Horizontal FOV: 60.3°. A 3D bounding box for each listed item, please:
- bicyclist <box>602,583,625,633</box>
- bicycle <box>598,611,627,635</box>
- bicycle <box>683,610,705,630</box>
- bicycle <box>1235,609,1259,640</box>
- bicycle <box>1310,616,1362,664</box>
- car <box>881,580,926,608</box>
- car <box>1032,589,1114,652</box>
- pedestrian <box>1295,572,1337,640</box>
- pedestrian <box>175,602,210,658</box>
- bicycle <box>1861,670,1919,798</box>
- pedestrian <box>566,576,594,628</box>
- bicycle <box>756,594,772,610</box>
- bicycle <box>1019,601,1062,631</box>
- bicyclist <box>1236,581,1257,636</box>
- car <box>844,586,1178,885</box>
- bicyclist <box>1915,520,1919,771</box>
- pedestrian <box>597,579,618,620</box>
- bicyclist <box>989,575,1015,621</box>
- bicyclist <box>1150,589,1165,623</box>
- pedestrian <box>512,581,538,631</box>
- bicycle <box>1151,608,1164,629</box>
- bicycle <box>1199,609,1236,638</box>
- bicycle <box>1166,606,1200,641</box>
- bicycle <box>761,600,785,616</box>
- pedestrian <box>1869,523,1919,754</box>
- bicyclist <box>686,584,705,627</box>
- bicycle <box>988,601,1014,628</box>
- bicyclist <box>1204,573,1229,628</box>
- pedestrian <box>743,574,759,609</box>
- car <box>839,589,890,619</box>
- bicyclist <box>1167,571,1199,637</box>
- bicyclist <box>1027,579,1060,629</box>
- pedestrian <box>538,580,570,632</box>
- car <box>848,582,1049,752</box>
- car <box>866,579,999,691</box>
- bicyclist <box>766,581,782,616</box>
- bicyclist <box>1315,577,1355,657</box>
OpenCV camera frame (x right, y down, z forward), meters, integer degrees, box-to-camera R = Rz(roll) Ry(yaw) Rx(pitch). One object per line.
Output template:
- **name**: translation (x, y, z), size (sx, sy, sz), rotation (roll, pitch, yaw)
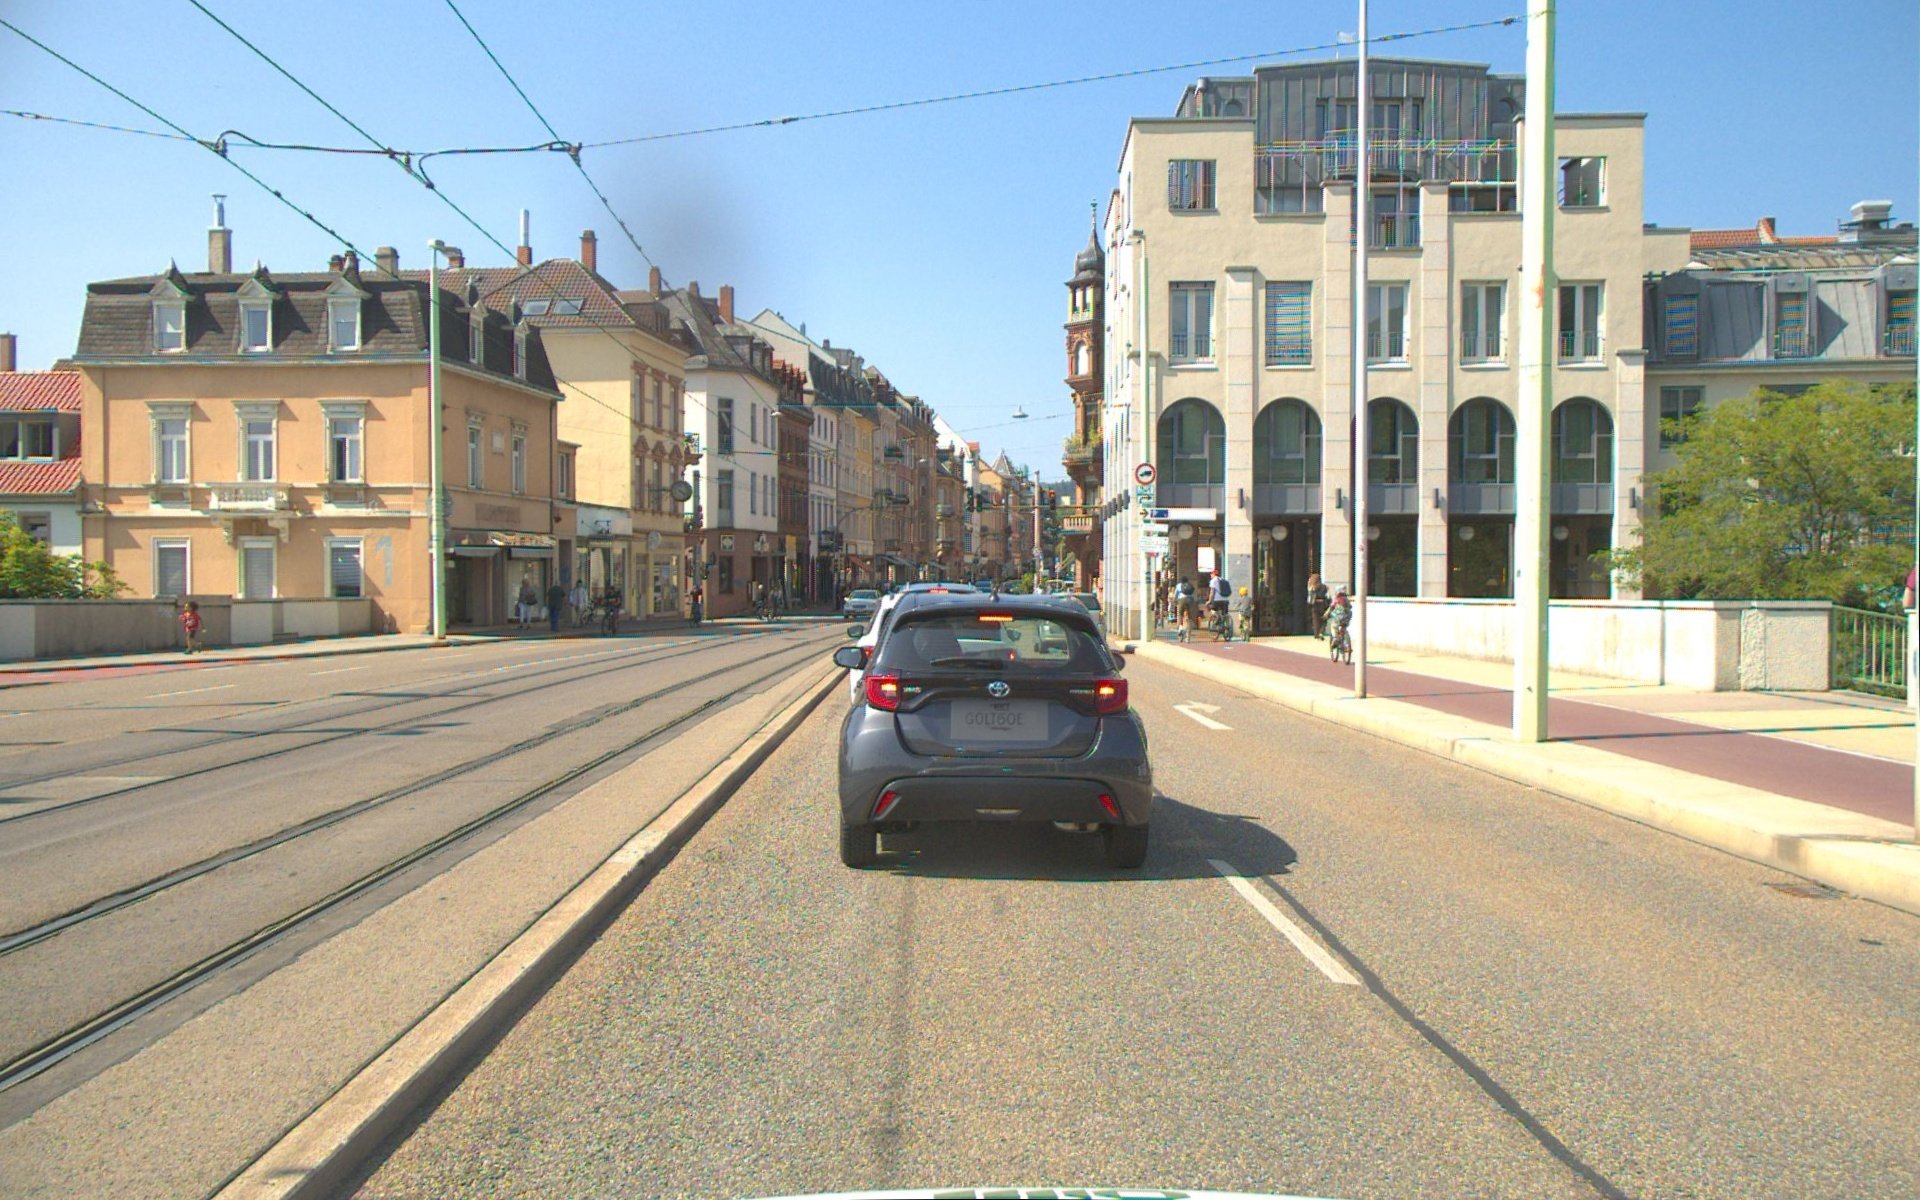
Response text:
- **bicyclist**: translation (-11.809, 0.260, 56.352), size (0.614, 1.679, 0.622), rotation (2, 1, -1)
- **bicycle**: translation (-11.820, 0.770, 56.246), size (0.608, 0.728, 1.771), rotation (2, 1, -1)
- **bicycle**: translation (-10.716, 0.789, 66.769), size (0.608, 0.728, 1.731), rotation (2, 1, -1)
- **bicycle**: translation (7.422, 0.635, 42.769), size (0.408, 0.779, 0.961), rotation (-2, 0, -1)
- **bicycle**: translation (6.713, 0.704, 29.586), size (0.503, 0.779, 1.660), rotation (-2, 0, -1)
- **car**: translation (-3.282, -0.346, 96.684), size (1.951, 1.614, 4.656), rotation (0, 0, 7)
- **car**: translation (2.837, 0.485, 42.371), size (1.671, 1.491, 4.325), rotation (1, 0, -1)
- **pedestrian**: translation (9.033, 0.143, 42.020), size (0.724, 1.642, 1.015), rotation (4, 0, -2)
- **pedestrian**: translation (-16.639, 0.651, 35.857), size (0.403, 1.166, 0.545), rotation (4, 0, 5)
- **bicycle**: translation (6.439, 0.872, 10.261), size (0.582, 0.779, 1.865), rotation (-1, 0, -3)
- **pedestrian**: translation (-13.810, 0.074, 60.098), size (0.721, 1.796, 0.787), rotation (4, 0, -1)
- **bicycle**: translation (-10.084, 0.097, 85.057), size (0.607, 0.728, 1.771), rotation (1, 1, -1)
- **bicycle**: translation (4.292, 0.865, 88.659), size (1.097, 1.444, 2.986), rotation (3, 0, -23)
- **bicyclist**: translation (7.406, 0.210, 42.768), size (0.413, 1.407, 0.443), rotation (-2, 0, -1)
- **car**: translation (0.221, 0.682, 10.301), size (1.685, 1.499, 3.657), rotation (1, 0, -1)
- **bicyclist**: translation (6.431, 0.323, 10.247), size (0.575, 1.679, 0.701), rotation (-1, 0, -3)
- **pedestrian**: translation (-14.312, -0.022, 67.194), size (0.636, 1.629, 0.566), rotation (4, 2, -1)
- **bicyclist**: translation (2.383, -0.116, 94.925), size (1.204, 2.572, 1.104), rotation (4, 0, -5)
- **bicyclist**: translation (7.892, 0.244, 66.141), size (0.527, 1.339, 0.672), rotation (-1, 0, 2)
- **pedestrian**: translation (-14.654, 0.194, 55.732), size (0.636, 1.629, 0.566), rotation (4, 2, -1)
- **bicycle**: translation (7.899, 0.731, 66.204), size (0.407, 0.779, 1.206), rotation (-2, 0, 2)
- **bicycle**: translation (7.013, 0.632, 45.007), size (0.414, 0.779, 0.948), rotation (-2, 0, -39)
- **bicycle**: translation (5.916, 0.611, 43.919), size (0.689, 0.898, 1.525), rotation (-1, 0, 0)
- **bicycle**: translation (-9.057, 0.381, 80.222), size (0.607, 0.728, 2.047), rotation (2, 1, 8)
- **pedestrian**: translation (7.970, 0.298, 13.280), size (0.724, 1.833, 1.015), rotation (-2, 0, -1)
- **bicyclist**: translation (-10.686, 0.226, 66.793), size (0.614, 1.679, 0.622), rotation (2, 1, -1)
- **bicycle**: translation (2.363, 0.841, 95.083), size (1.090, 1.444, 3.004), rotation (3, 0, -5)
- **bicyclist**: translation (6.983, 0.013, 45.017), size (0.480, 1.492, 0.437), rotation (-2, 0, -40)
- **pedestrian**: translation (-10.775, -0.434, 85.317), size (0.721, 1.797, 0.787), rotation (0, 1, -1)
- **car**: translation (-4.786, 0.186, 83.324), size (1.694, 1.486, 4.377), rotation (0, 0, 9)
- **bicyclist**: translation (5.903, 0.105, 43.870), size (0.687, 1.725, 0.924), rotation (-1, 0, -1)
- **bicyclist**: translation (4.459, 0.195, 88.411), size (1.211, 2.572, 1.098), rotation (4, 0, -22)
- **pedestrian**: translation (-13.682, 0.202, 55.735), size (0.746, 1.682, 0.712), rotation (4, 0, 6)
- **car**: translation (-0.150, 0.617, 17.504), size (1.859, 1.556, 3.999), rotation (1, 0, -1)
- **car**: translation (-0.439, 0.483, 25.501), size (1.859, 1.556, 3.999), rotation (1, 0, -1)
- **bicyclist**: translation (-9.036, -0.076, 80.253), size (0.614, 1.679, 0.622), rotation (2, 1, 8)
- **bicyclist**: translation (6.706, 0.299, 29.580), size (0.523, 1.407, 0.669), rotation (-2, 0, -1)
